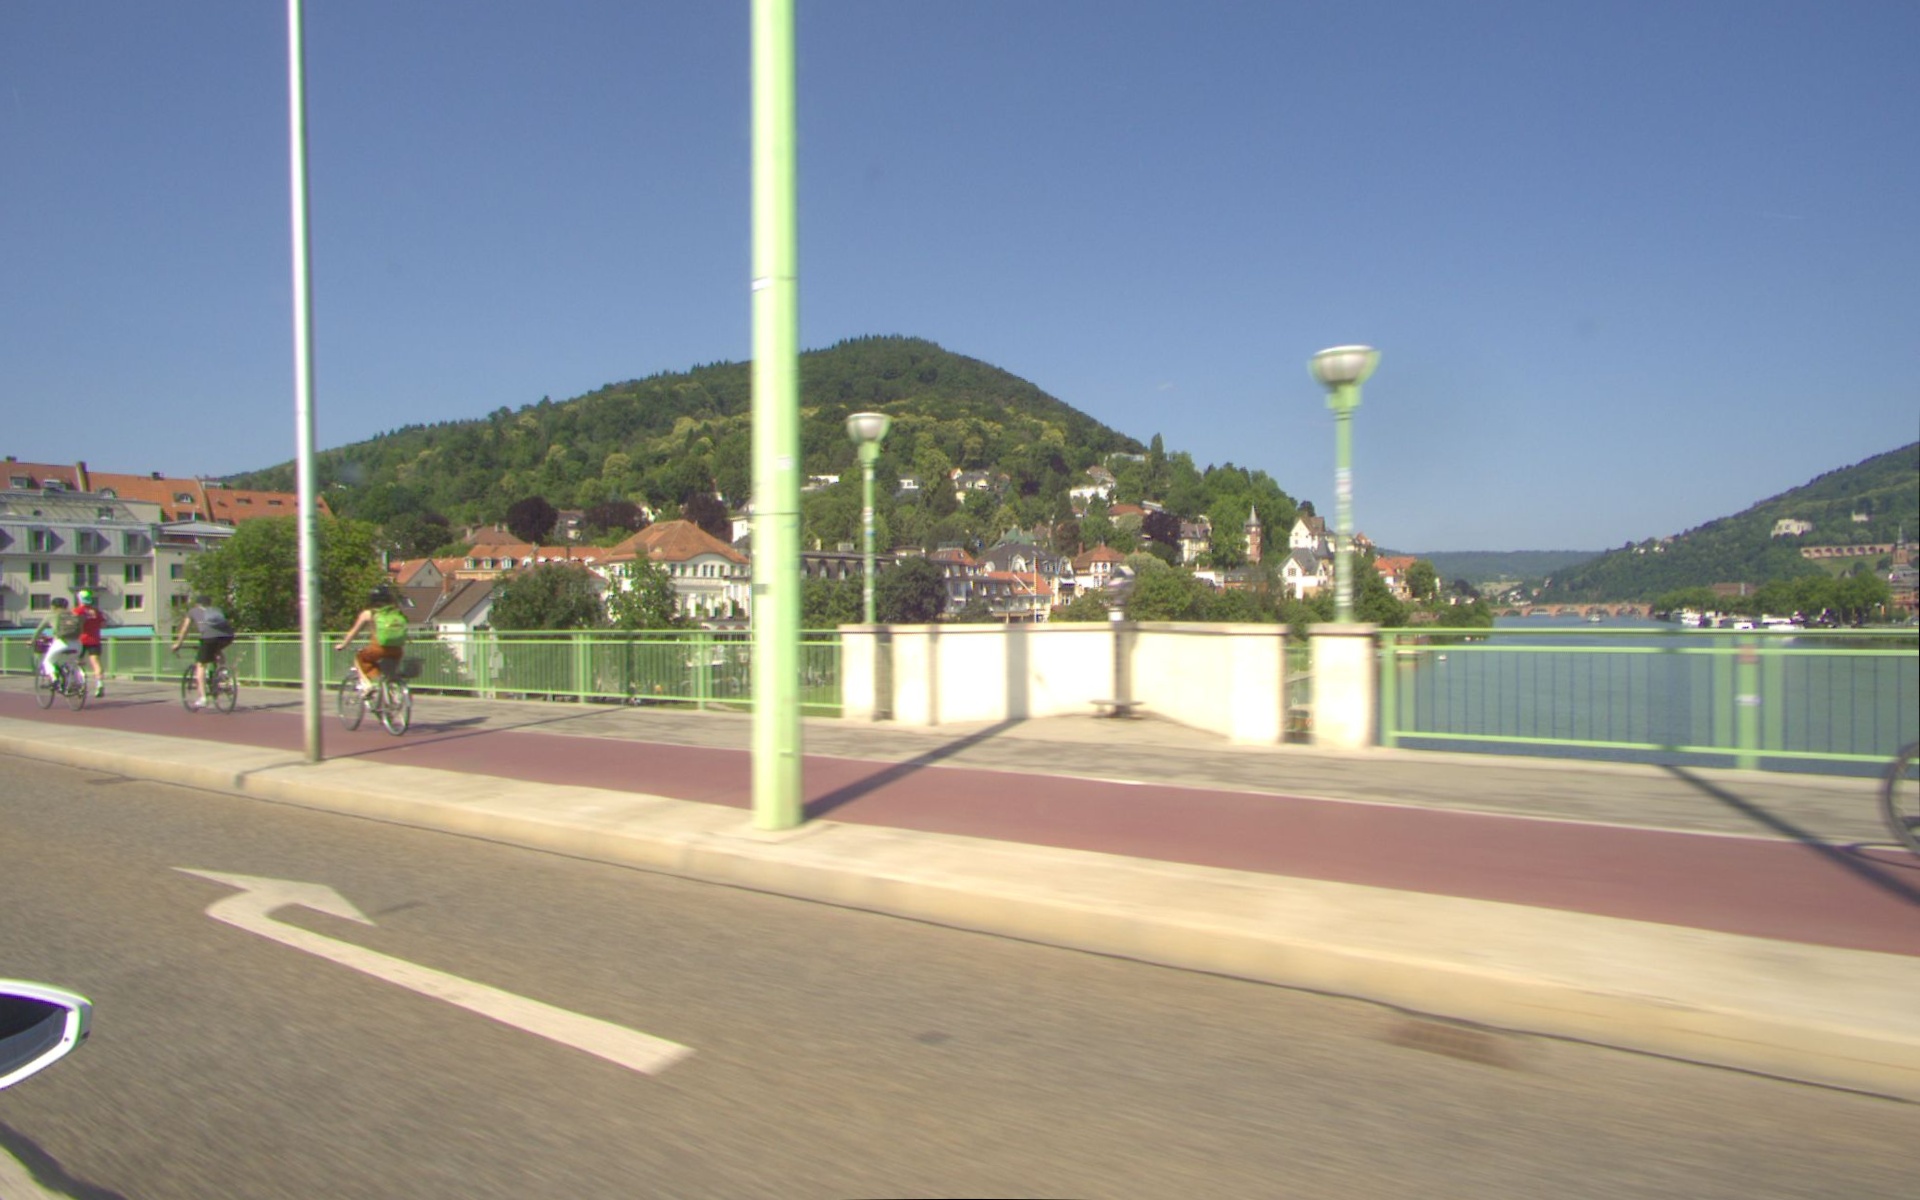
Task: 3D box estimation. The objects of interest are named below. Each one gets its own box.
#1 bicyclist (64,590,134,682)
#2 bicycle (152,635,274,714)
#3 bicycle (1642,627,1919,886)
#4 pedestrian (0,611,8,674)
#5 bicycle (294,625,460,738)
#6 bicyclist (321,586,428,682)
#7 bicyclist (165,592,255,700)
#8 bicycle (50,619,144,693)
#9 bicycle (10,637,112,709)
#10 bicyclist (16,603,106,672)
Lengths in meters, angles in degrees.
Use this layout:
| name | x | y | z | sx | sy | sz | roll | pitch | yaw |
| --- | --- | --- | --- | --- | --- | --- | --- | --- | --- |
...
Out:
| name | x | y | z | sx | sy | sz | roll | pitch | yaw |
| --- | --- | --- | --- | --- | --- | --- | --- | --- | --- |
| bicyclist | -15.873 | 0.654 | 18.456 | 0.854 | 1.657 | 0.734 | 0 | 0 | 30 |
| bicycle | -10.972 | 1.058 | 14.677 | 2.232 | 1.051 | 0.617 | 0 | 0 | 30 |
| bicycle | 5.224 | 0.704 | 4.320 | 3.686 | 1.111 | 0.791 | 0 | 1 | 28 |
| pedestrian | -24.731 | 1.077 | 25.431 | 0.854 | 1.607 | 0.598 | 0 | 0 | 30 |
| bicycle | -6.753 | 0.901 | 11.575 | 2.047 | 1.209 | 0.694 | -1 | 0 | 29 |
| bicyclist | -6.767 | 0.380 | 11.575 | 0.965 | 1.058 | 0.666 | 0 | 0 | 28 |
| bicyclist | -10.972 | 0.657 | 14.650 | 0.966 | 1.520 | 0.734 | 0 | 0 | 30 |
| bicycle | -15.960 | 1.005 | 18.504 | 2.183 | 1.288 | 0.617 | -1 | 1 | 30 |
| bicycle | -14.224 | 1.121 | 15.832 | 2.020 | 1.051 | 0.617 | 0 | 0 | 30 |
| bicyclist | -14.180 | 0.580 | 15.791 | 1.158 | 1.044 | 0.734 | 0 | 0 | 30 |
